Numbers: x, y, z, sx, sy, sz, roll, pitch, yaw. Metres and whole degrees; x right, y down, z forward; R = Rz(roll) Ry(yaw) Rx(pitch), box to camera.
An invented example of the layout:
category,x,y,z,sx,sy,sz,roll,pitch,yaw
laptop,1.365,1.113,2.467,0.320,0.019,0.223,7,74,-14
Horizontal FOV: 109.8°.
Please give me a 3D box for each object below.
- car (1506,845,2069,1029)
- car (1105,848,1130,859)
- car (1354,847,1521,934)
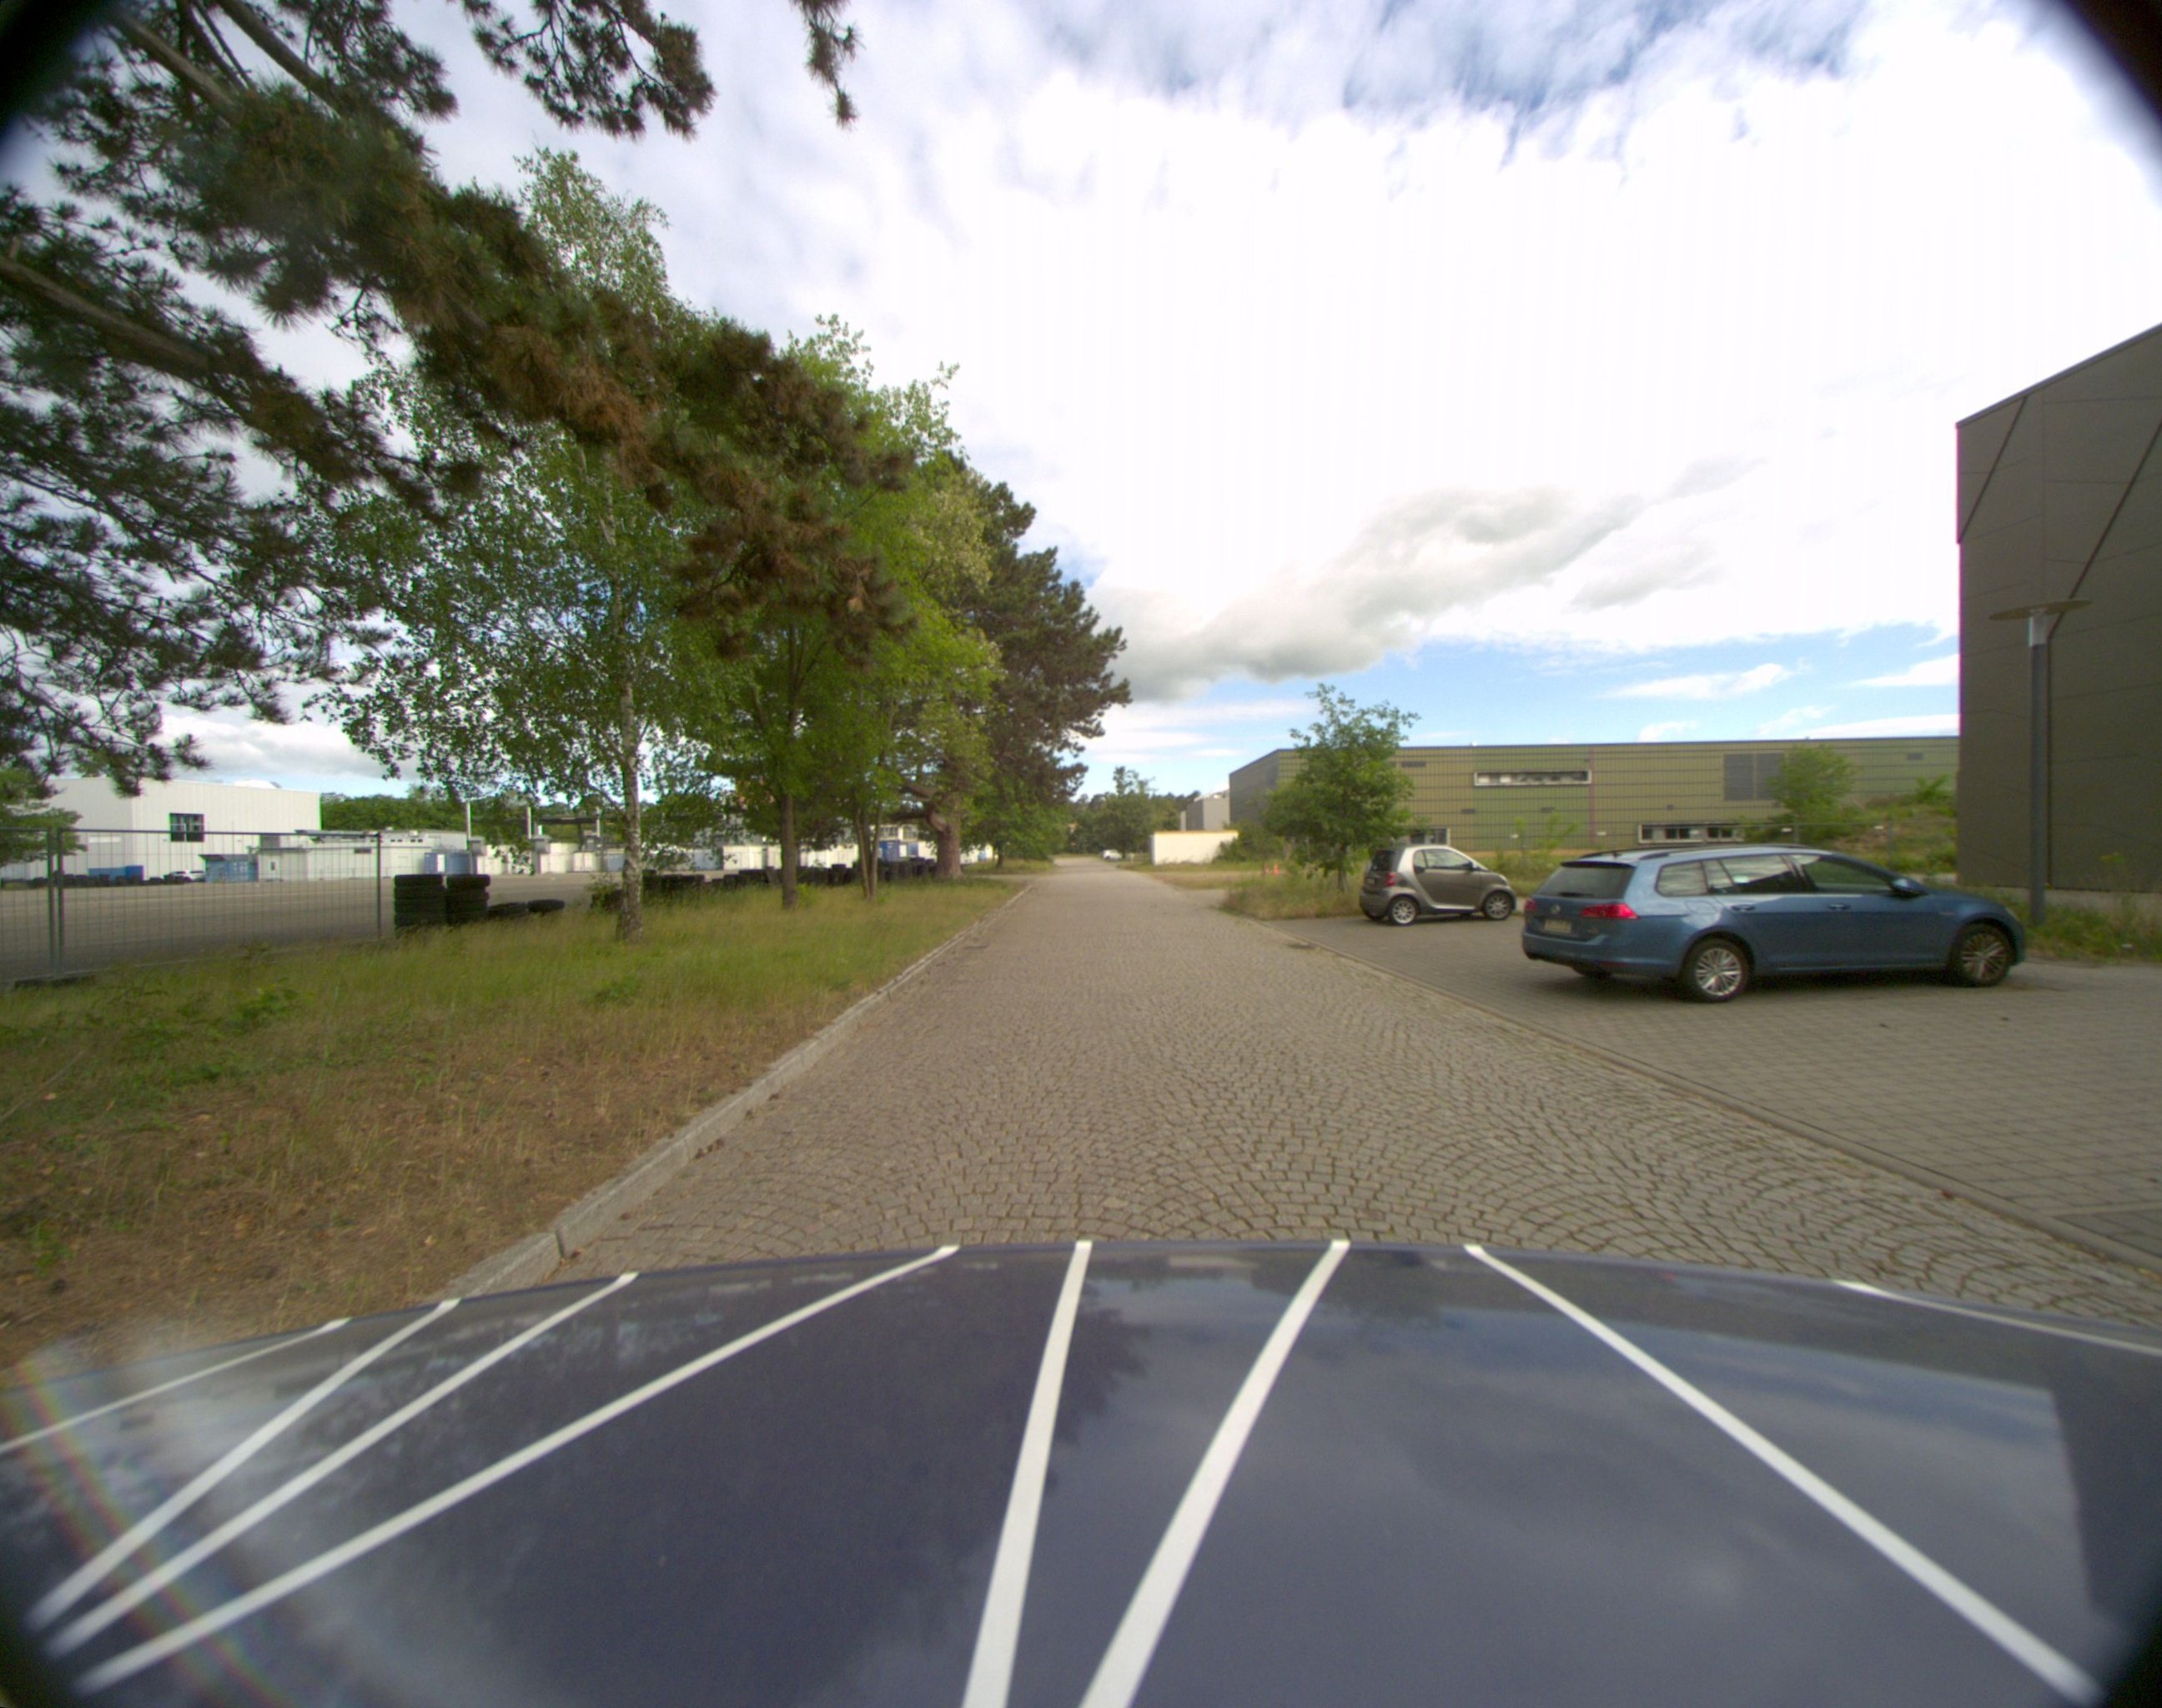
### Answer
category,x,y,z,sx,sy,sz,roll,pitch,yaw
car,7.095,0.759,7.913,4.427,1.461,1.633,-3,1,-2
car,6.156,-0.124,127.700,4.062,1.768,1.792,-2,1,-1
car,7.093,0.681,15.281,2.584,1.521,1.500,-3,1,-2
